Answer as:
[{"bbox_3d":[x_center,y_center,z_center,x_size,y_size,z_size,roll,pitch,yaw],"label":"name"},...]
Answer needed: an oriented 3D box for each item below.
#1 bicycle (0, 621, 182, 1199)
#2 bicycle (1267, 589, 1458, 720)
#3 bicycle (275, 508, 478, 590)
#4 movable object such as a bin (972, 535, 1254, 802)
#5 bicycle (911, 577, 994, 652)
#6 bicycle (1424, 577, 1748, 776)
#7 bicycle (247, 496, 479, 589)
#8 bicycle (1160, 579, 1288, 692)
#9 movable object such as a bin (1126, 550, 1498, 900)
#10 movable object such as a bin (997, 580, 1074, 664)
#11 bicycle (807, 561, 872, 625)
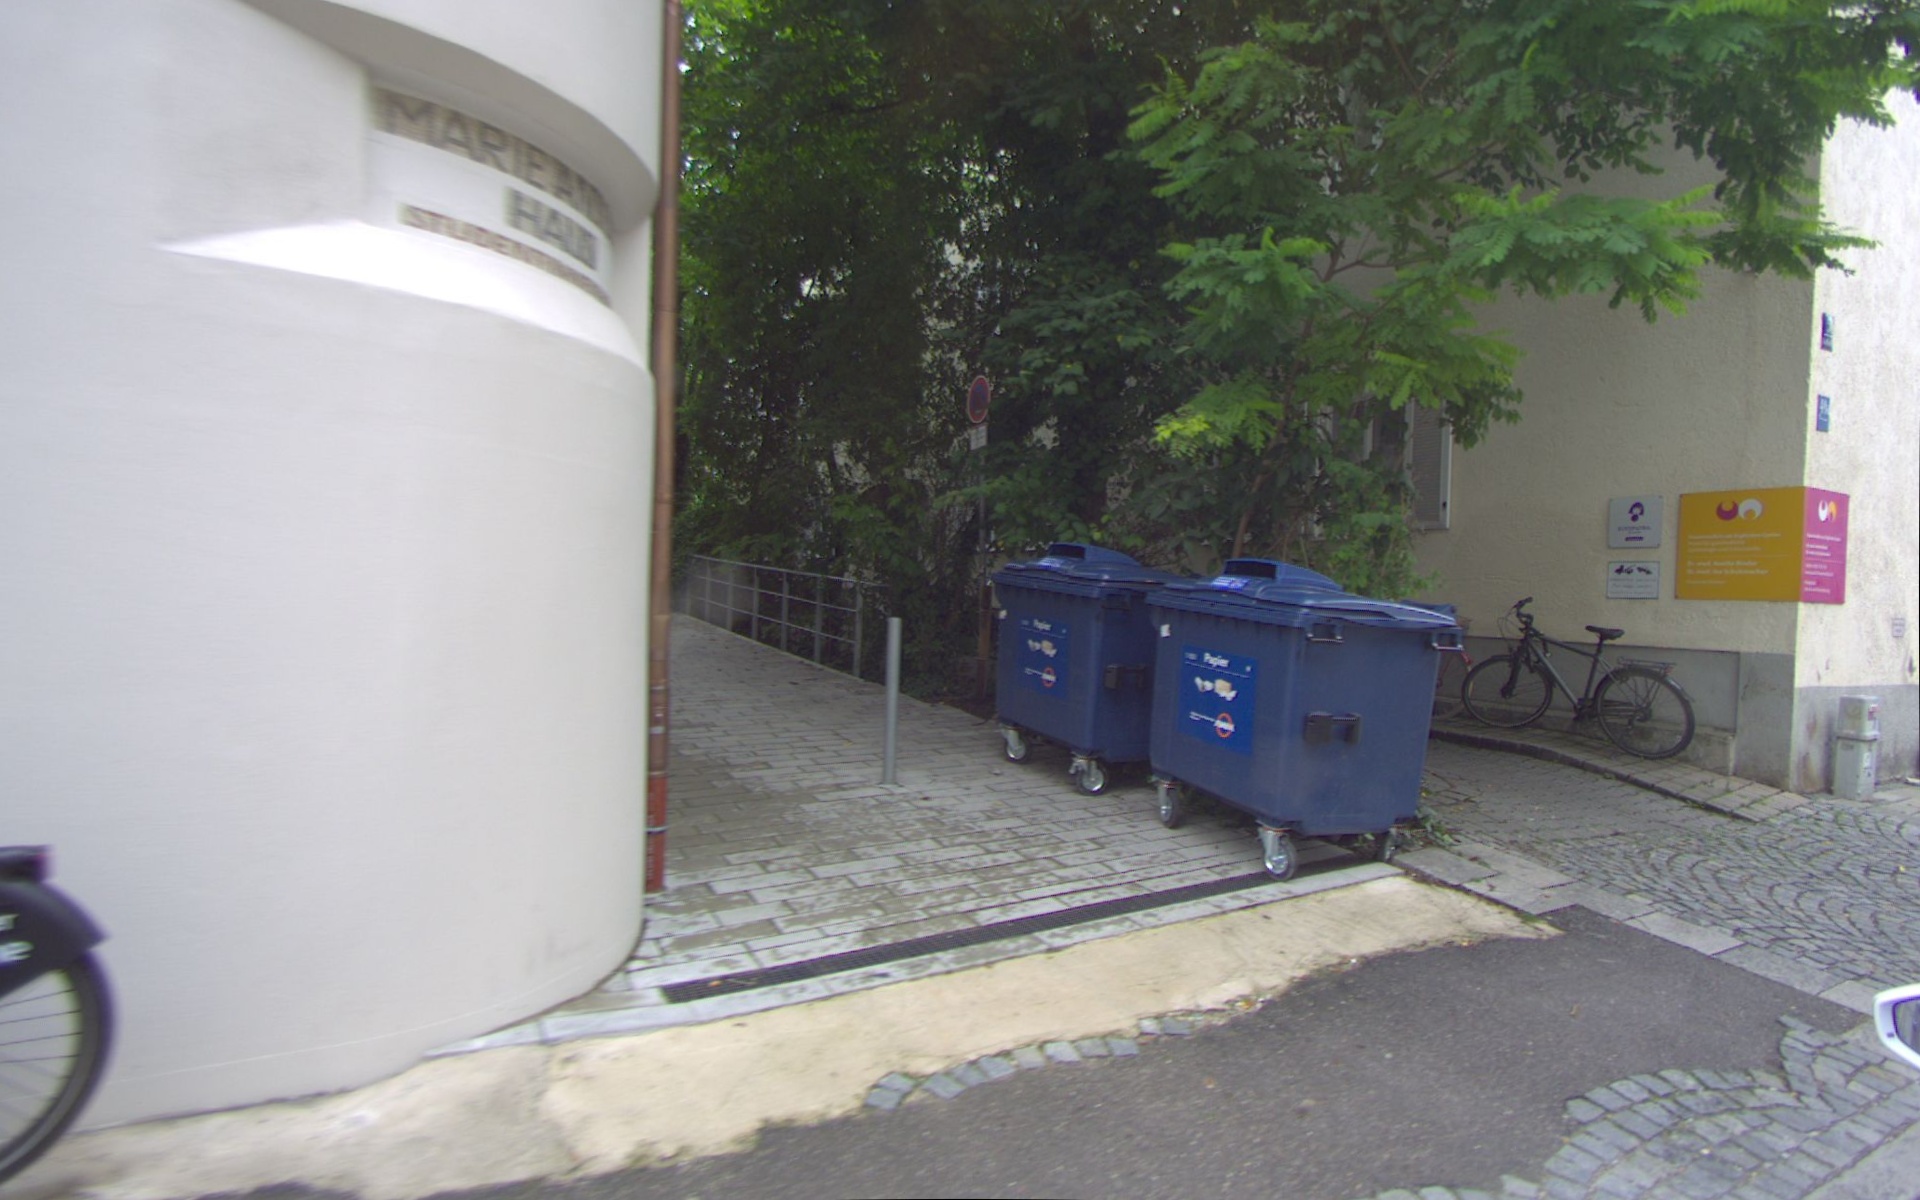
[{"bbox_3d":[-2.549,0.632,1.712,1.861,1.177,0.541,2,2,-32],"label":"bicycle"},{"bbox_3d":[3.966,0.497,10.058,0.527,1.149,1.787,2,1,-31],"label":"bicycle"},{"bbox_3d":[-10.942,-0.918,19.001,3.206,1.315,1.148,2,0,-30],"label":"bicycle"},{"bbox_3d":[0.923,0.357,6.333,1.233,1.424,1.169,0,6,-28],"label":"movable object such as a bin"},{"bbox_3d":[-0.163,0.228,17.554,0.526,1.211,1.930,2,1,-30],"label":"bicycle"},{"bbox_3d":[4.992,0.533,8.228,0.508,1.316,2.189,1,3,-30],"label":"bicycle"},{"bbox_3d":[-9.896,-0.902,16.842,3.206,1.315,1.148,2,0,-30],"label":"bicycle"},{"bbox_3d":[3.084,0.382,11.880,0.378,1.219,1.623,1,1,-31],"label":"bicycle"},{"bbox_3d":[1.733,0.533,5.127,1.231,1.462,1.171,1,6,-24],"label":"movable object such as a bin"},{"bbox_3d":[1.097,0.310,14.653,0.815,1.175,0.746,2,1,-28],"label":"movable object such as a bin"},{"bbox_3d":[-2.659,-0.168,21.998,0.527,1.323,1.927,1,1,-35],"label":"bicycle"}]
